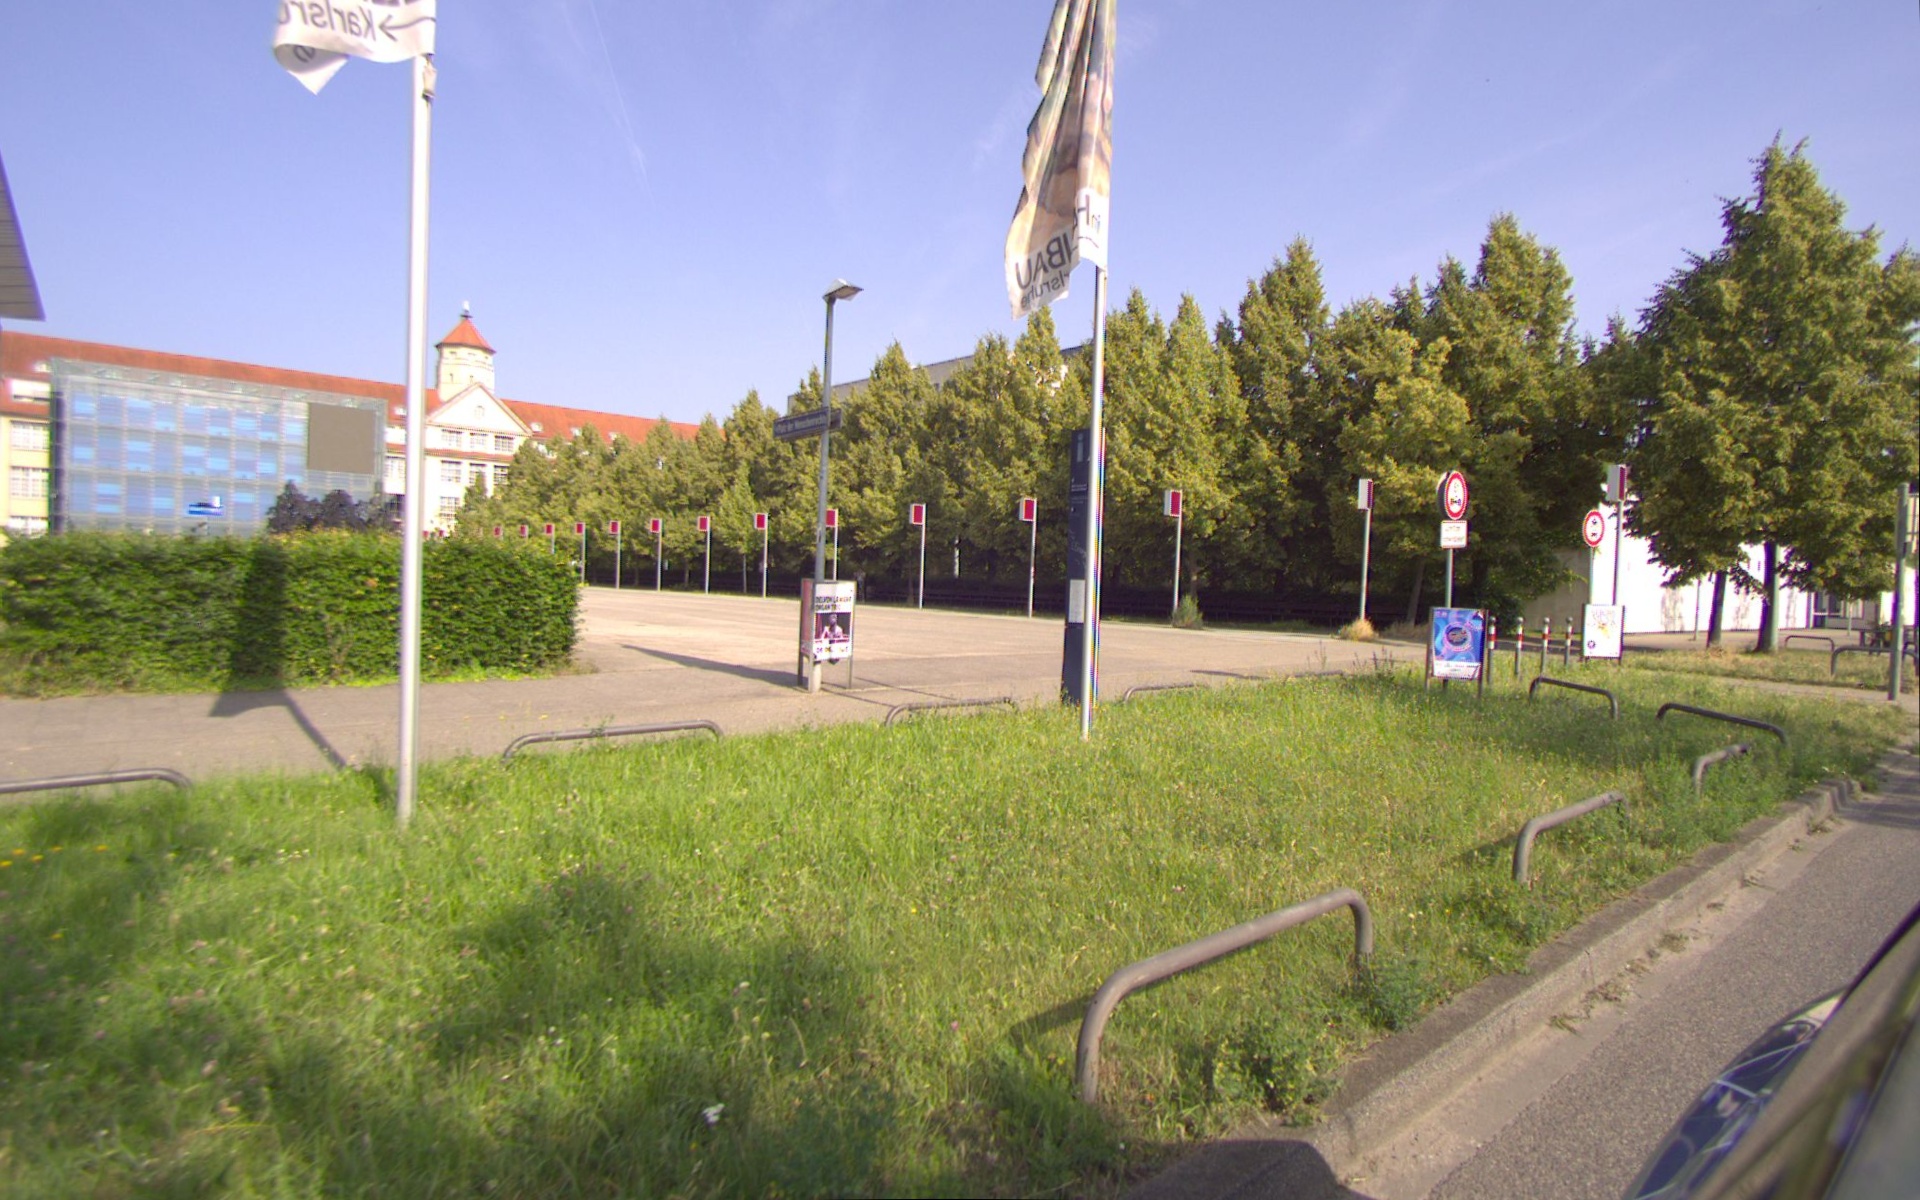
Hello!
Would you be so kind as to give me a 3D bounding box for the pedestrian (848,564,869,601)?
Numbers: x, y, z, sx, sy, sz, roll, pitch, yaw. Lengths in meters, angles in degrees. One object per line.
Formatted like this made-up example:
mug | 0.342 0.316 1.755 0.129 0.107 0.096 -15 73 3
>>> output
pedestrian | -5.217 -0.915 51.807 0.795 1.845 0.734 2 1 19
